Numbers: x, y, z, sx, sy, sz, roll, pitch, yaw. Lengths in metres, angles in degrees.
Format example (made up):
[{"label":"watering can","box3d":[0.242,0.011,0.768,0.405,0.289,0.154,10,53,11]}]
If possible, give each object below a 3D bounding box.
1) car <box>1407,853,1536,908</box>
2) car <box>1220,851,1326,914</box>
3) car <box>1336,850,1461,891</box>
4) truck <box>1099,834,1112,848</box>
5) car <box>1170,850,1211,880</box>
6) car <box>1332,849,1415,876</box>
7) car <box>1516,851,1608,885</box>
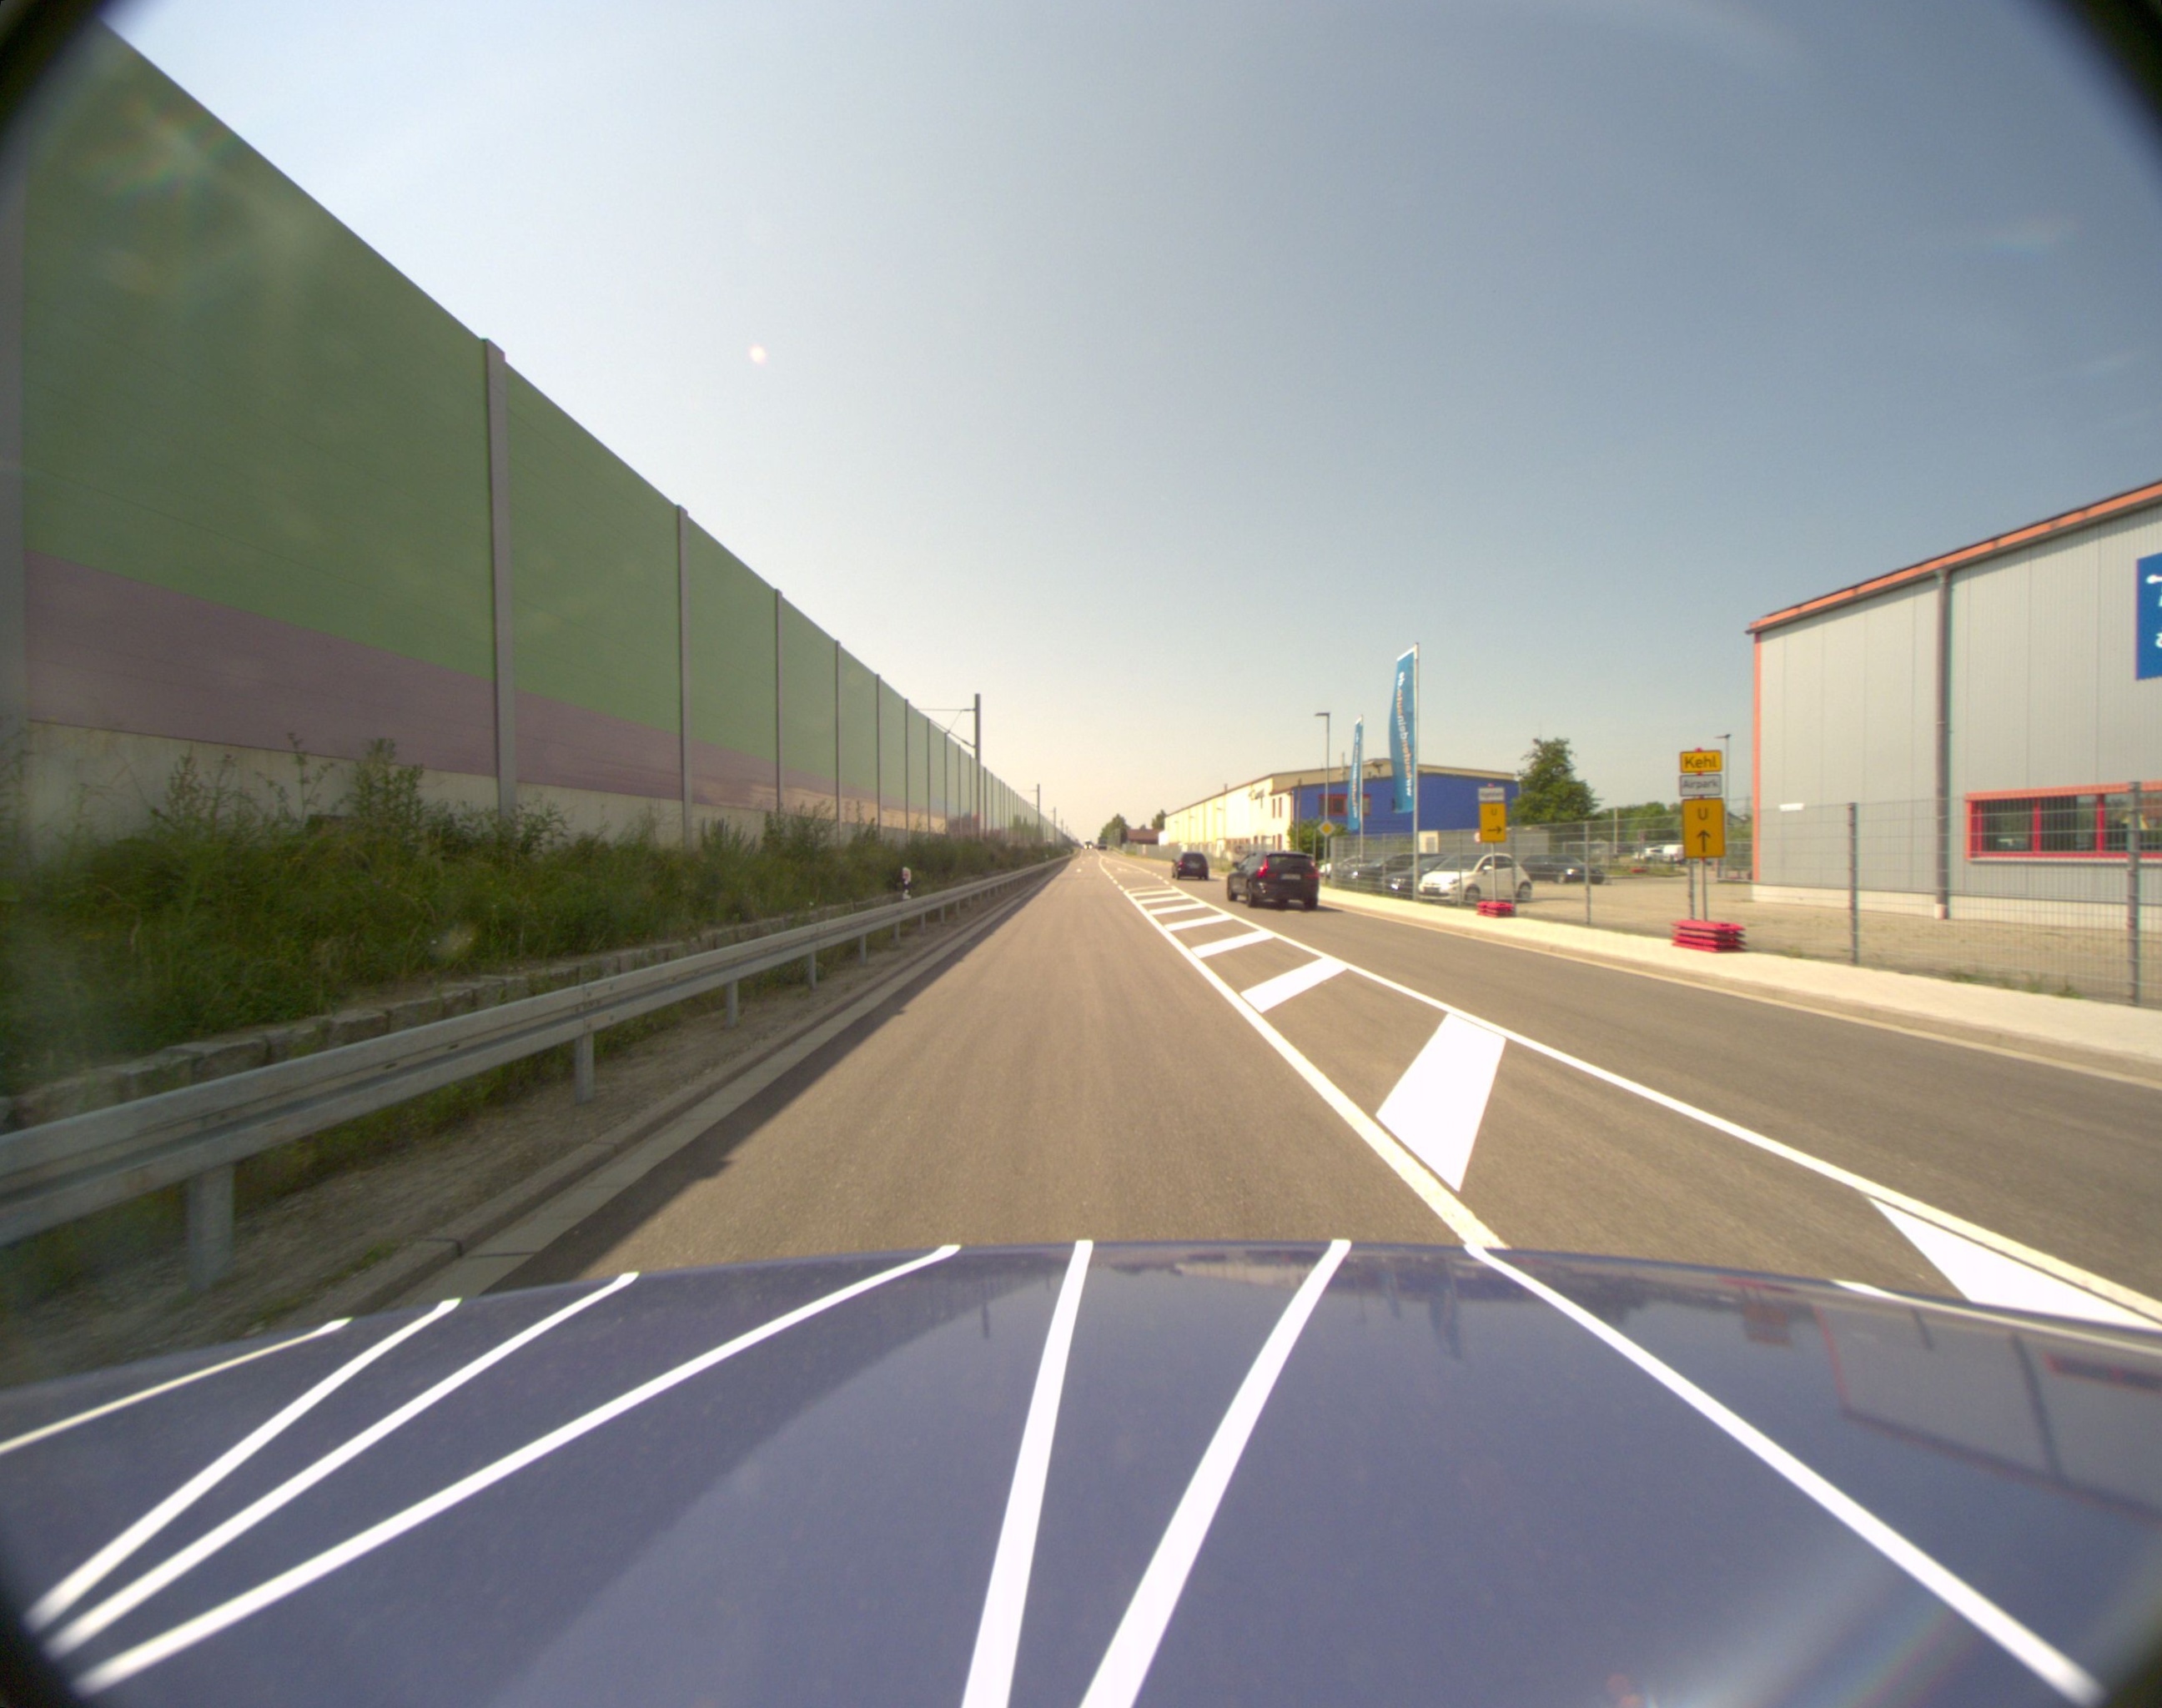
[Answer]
[{"label":"car","box3d":[11.536,0.730,22.438,3.491,1.456,1.587,-1,1,-25]},{"label":"car","box3d":[5.575,0.753,22.699,1.886,1.607,4.521,2,1,-1]},{"label":"car","box3d":[12.023,0.603,28.933,3.998,1.494,1.774,0,0,-3]},{"label":"truck","box3d":[6.880,-3.602,215.878,3.563,3.855,11.415,0,0,2]},{"label":"car","box3d":[6.114,0.577,42.927,1.746,1.584,3.796,1,1,0]},{"label":"car","box3d":[16.944,0.510,44.164,4.156,1.493,1.776,0,0,7]},{"label":"car","box3d":[22.633,0.628,35.921,1.774,1.493,4.000,0,0,-1]}]
